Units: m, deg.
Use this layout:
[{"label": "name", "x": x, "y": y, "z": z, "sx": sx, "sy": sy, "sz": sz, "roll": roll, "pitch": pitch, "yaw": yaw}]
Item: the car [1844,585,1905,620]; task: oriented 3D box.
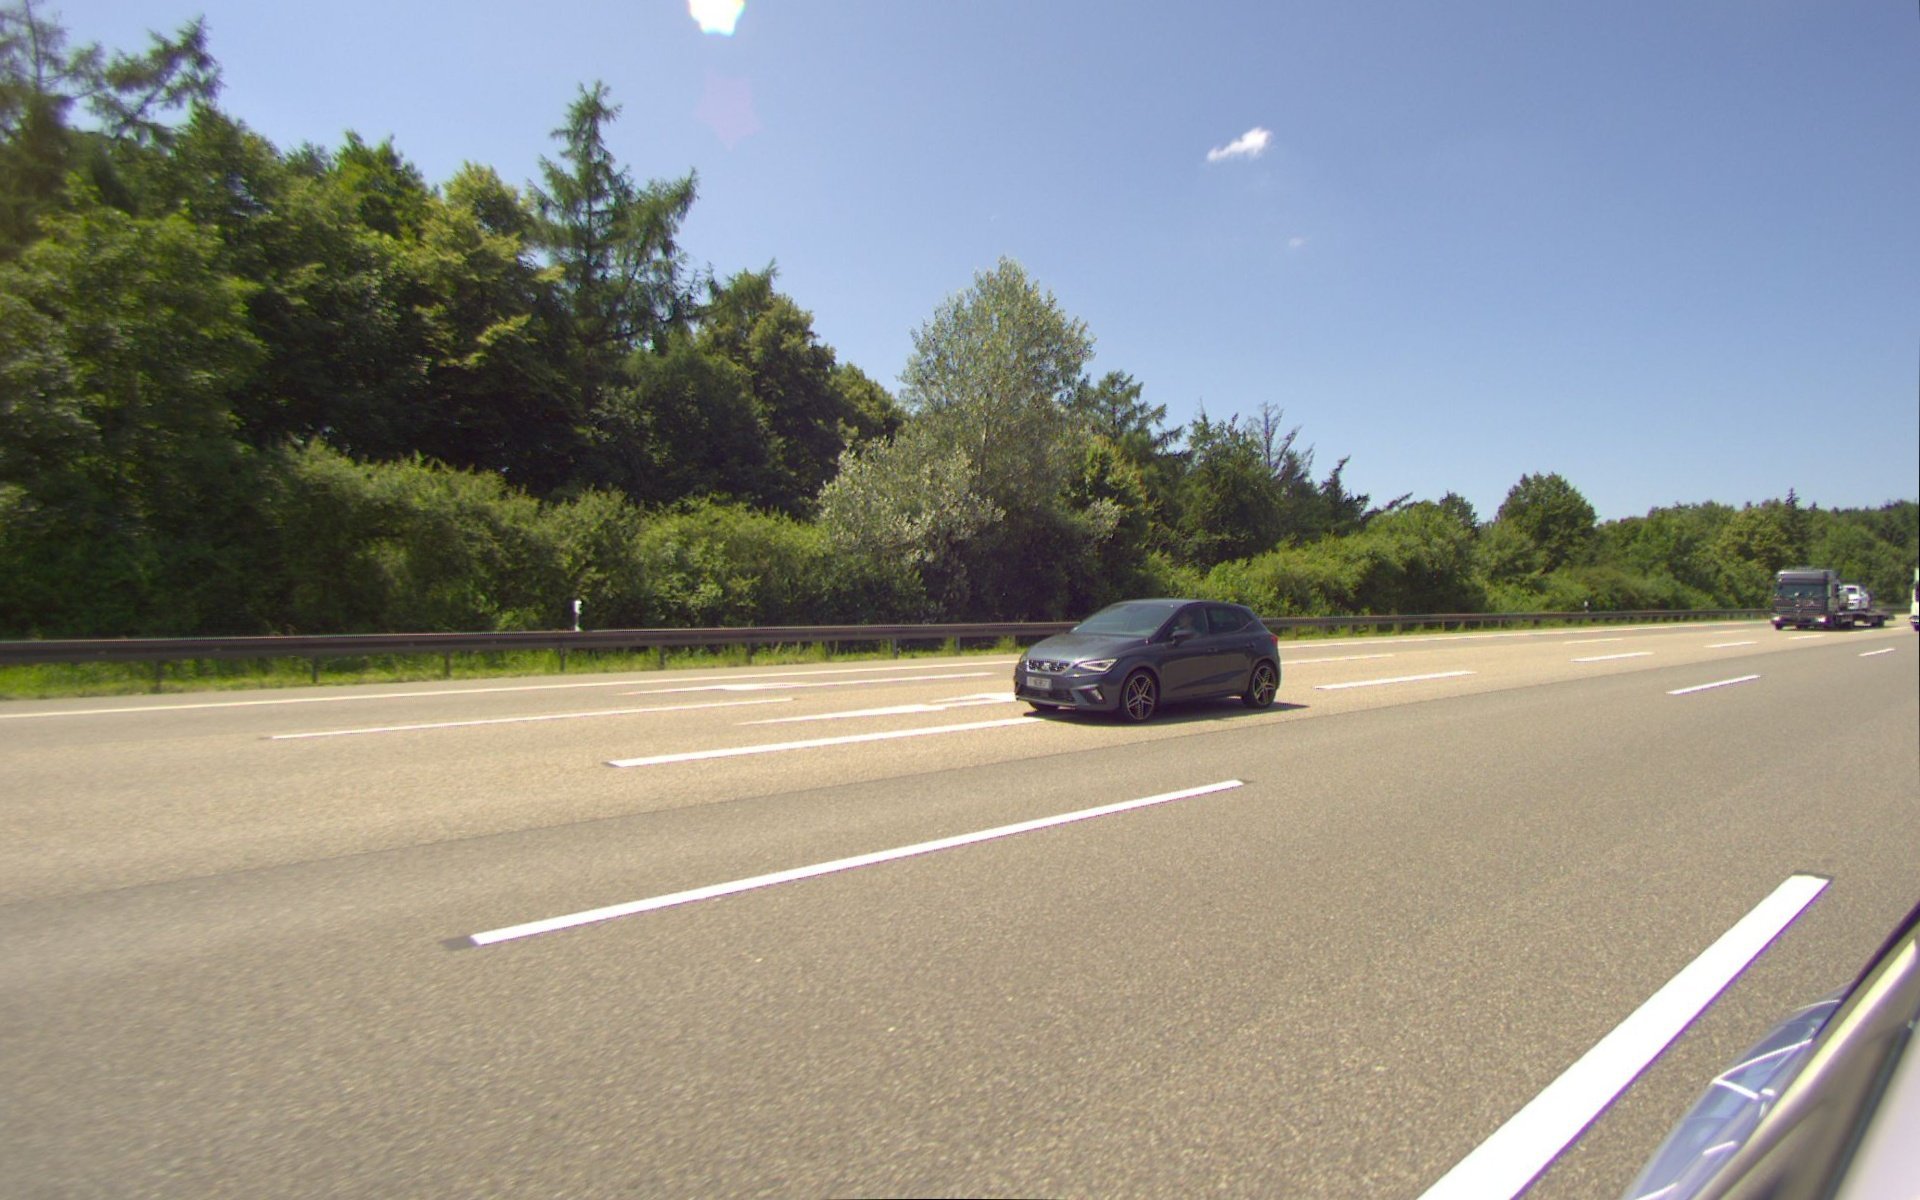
[{"label": "car", "x": 52.040, "y": 0.138, "z": 57.572, "sx": 4.784, "sy": 1.920, "sz": 1.997, "roll": -1, "pitch": 0, "yaw": -41}]

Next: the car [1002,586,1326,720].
[{"label": "car", "x": 2.803, "y": 0.565, "z": 13.294, "sx": 4.552, "sy": 1.456, "sz": 1.647, "roll": -1, "pitch": 0, "yaw": -39}]

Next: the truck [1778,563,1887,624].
[{"label": "truck", "x": 45.039, "y": -0.339, "z": 52.070, "sx": 10.694, "sy": 2.892, "sz": 2.658, "roll": -1, "pitch": 0, "yaw": -41}]
